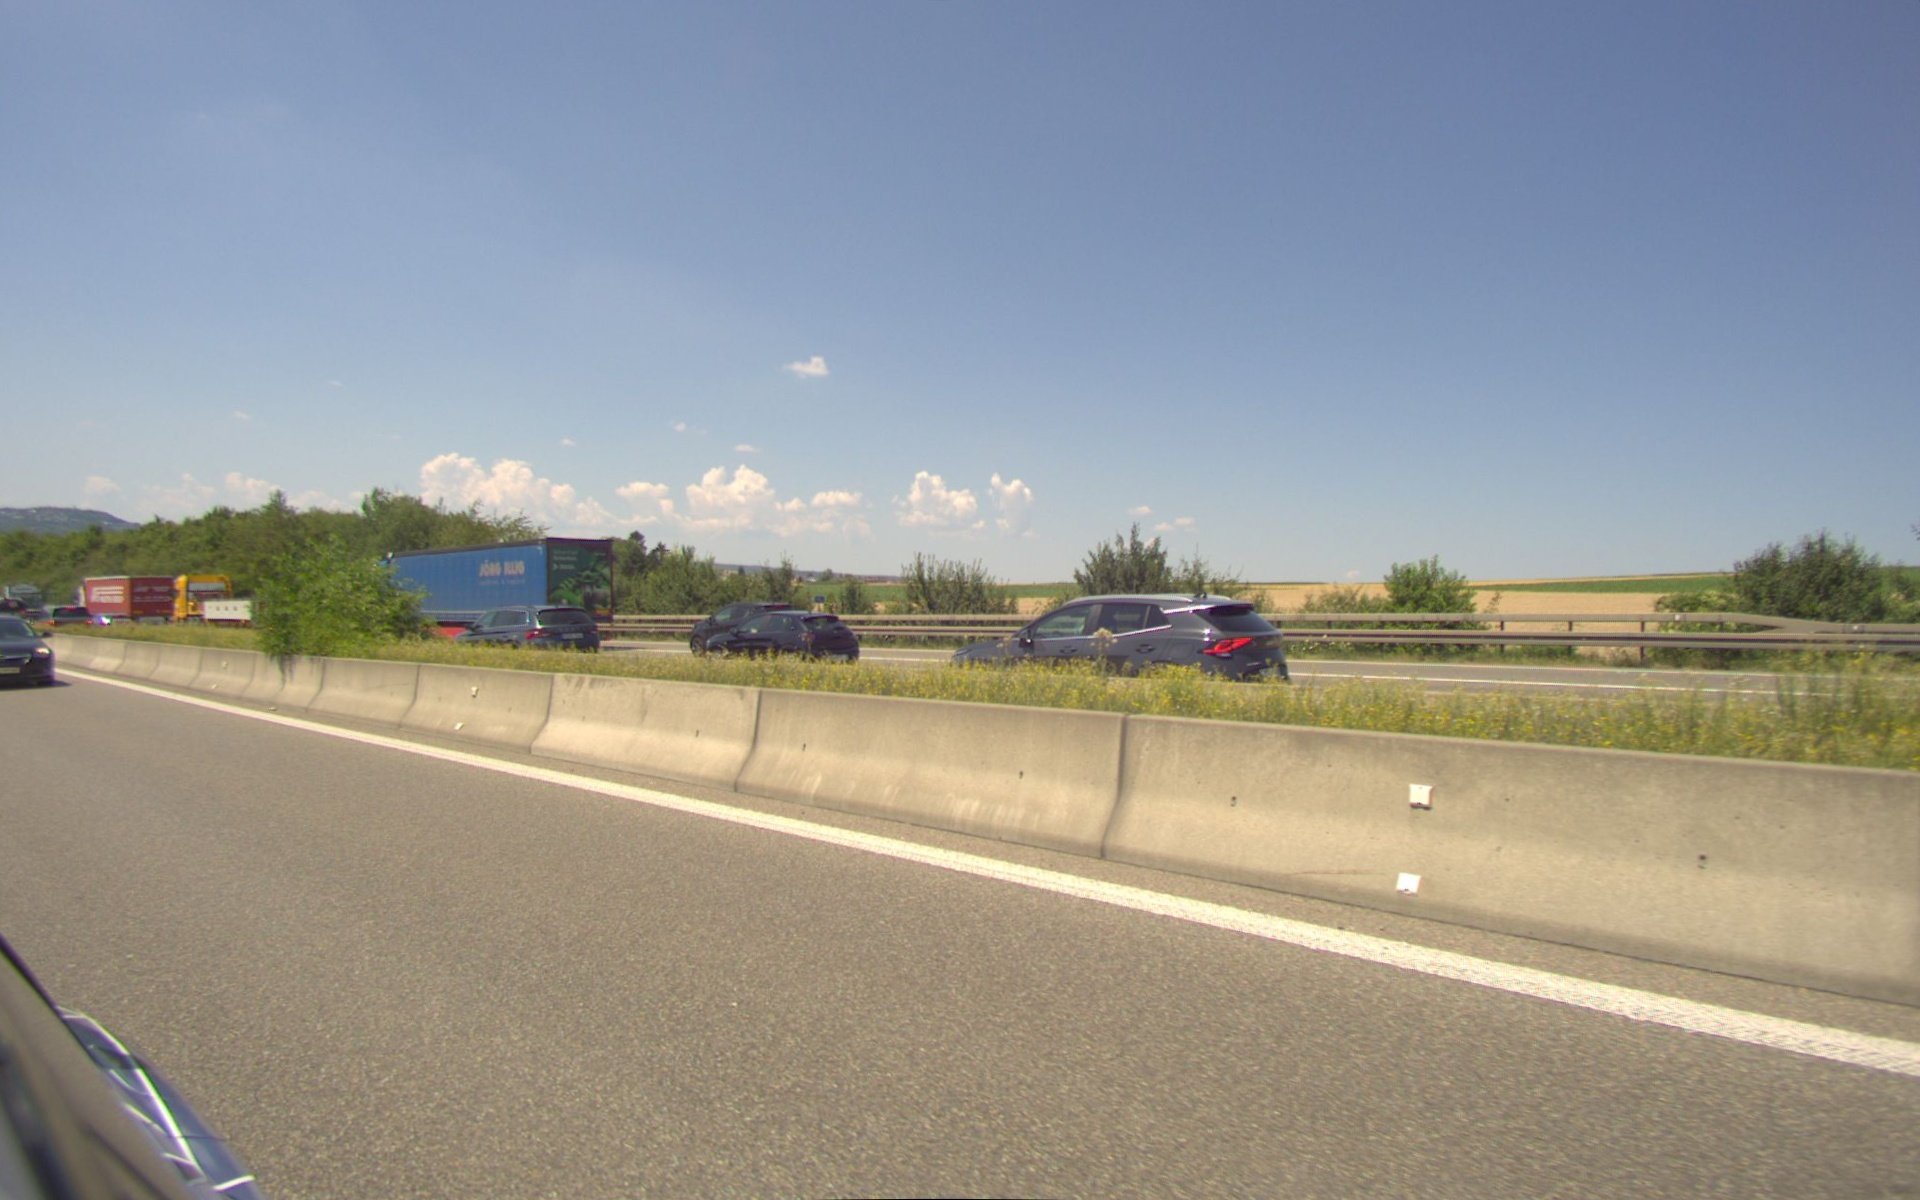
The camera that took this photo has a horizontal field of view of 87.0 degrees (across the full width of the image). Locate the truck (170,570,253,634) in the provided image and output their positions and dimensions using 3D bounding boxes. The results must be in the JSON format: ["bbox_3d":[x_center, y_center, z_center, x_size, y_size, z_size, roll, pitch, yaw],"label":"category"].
[{"bbox_3d":[-48.010,0.142,64.856,7.093,3.866,2.723,-1,0,40],"label":"truck"}]

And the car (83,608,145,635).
[{"bbox_3d":[-52.901,1.310,63.229,5.736,1.553,1.895,-1,0,39],"label":"car"}]

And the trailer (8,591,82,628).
[{"bbox_3d":[-85.313,0.853,94.249,12.763,3.230,2.831,0,1,38],"label":"trailer"}]

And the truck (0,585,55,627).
[{"bbox_3d":[-90.726,0.581,98.409,6.168,3.906,2.874,0,1,37],"label":"truck"}]

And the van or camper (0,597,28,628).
[{"bbox_3d":[-82.281,1.034,86.885,7.134,2.606,2.289,0,1,39],"label":"van or camper"}]

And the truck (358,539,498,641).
[{"bbox_3d":[-23.364,-0.395,44.316,6.930,4.121,3.045,0,0,40],"label":"truck"}]

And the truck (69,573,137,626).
[{"bbox_3d":[-68.818,-0.056,81.212,6.307,4.112,3.006,0,0,39],"label":"truck"}]

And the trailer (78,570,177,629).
[{"bbox_3d":[-63.254,-0.049,76.711,14.366,4.131,3.055,0,0,39],"label":"trailer"}]

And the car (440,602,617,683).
[{"bbox_3d":[-9.899,0.891,23.071,4.347,1.646,1.973,0,0,40],"label":"car"}]

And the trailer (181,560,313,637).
[{"bbox_3d":[-42.774,-0.021,60.359,14.371,4.131,2.923,-1,0,40],"label":"trailer"}]

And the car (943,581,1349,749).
[{"bbox_3d":[2.122,0.673,12.331,4.474,1.685,1.973,-1,0,41],"label":"car"}]

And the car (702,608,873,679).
[{"bbox_3d":[-3.829,0.915,22.211,3.725,1.414,1.609,-1,0,38],"label":"car"}]

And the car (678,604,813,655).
[{"bbox_3d":[-6.457,0.858,30.210,4.347,1.396,1.641,-1,0,41],"label":"car"}]

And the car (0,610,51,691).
[{"bbox_3d":[-20.461,1.014,21.030,4.747,1.555,1.784,-1,0,41],"label":"car"}]

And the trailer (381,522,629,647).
[{"bbox_3d":[-18.474,-0.527,40.152,14.372,4.225,3.129,0,1,41],"label":"trailer"}]

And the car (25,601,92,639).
[{"bbox_3d":[-49.743,1.056,55.793,5.441,1.985,1.895,0,0,39],"label":"car"}]
